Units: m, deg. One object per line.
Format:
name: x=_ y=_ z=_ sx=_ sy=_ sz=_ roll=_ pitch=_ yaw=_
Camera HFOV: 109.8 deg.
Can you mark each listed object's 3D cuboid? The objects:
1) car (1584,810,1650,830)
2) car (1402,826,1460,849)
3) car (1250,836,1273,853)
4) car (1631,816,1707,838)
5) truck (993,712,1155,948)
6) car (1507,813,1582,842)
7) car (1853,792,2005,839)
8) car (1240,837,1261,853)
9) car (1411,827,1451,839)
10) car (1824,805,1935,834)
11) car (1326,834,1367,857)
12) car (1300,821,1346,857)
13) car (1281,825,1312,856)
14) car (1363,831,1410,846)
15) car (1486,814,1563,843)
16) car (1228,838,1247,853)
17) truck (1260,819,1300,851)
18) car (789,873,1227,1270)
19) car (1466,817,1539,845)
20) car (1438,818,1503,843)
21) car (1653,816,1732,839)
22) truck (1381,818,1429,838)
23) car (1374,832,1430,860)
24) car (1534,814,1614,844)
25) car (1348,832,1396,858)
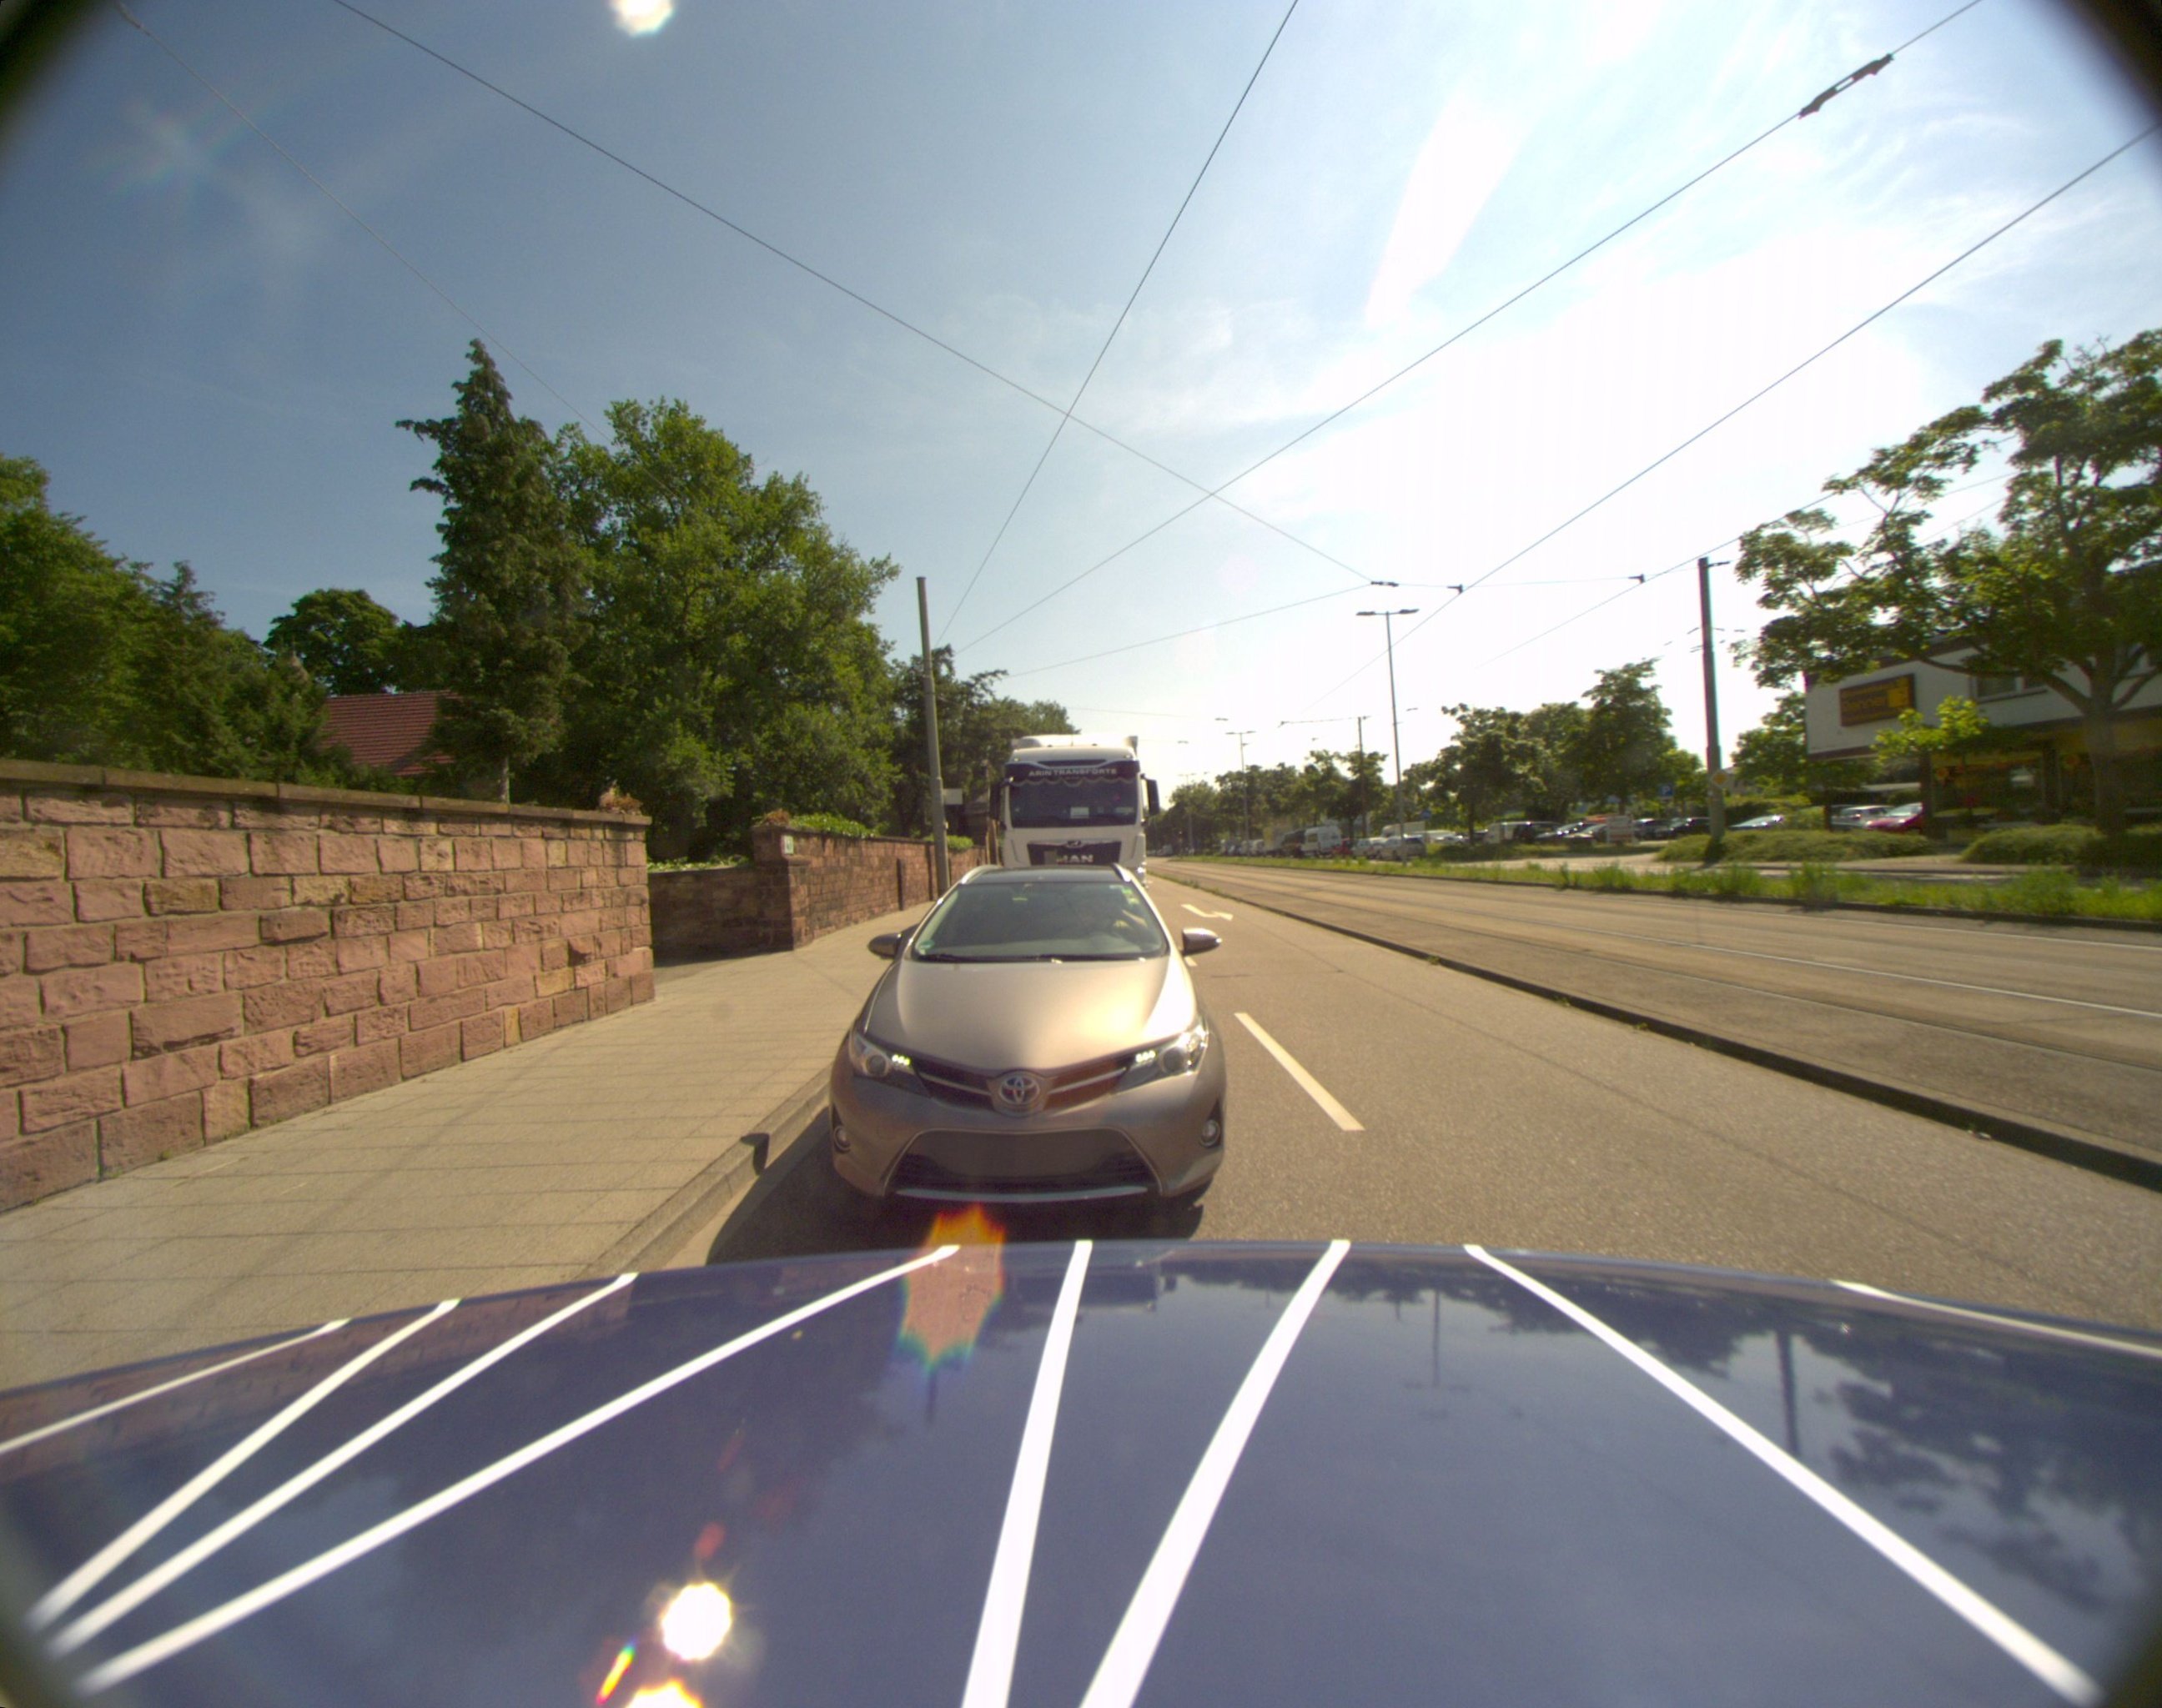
car: x=44.042 y=-2.809 z=62.509 sx=4.254 sy=1.327 sz=1.676 roll=-3 pitch=0 yaw=-1
car: x=31.174 y=-1.395 z=67.875 sx=2.594 sy=1.800 sz=5.741 roll=-3 pitch=0 yaw=2
car: x=20.713 y=-1.048 z=87.368 sx=1.502 sy=1.793 sz=4.633 roll=-6 pitch=0 yaw=1
car: x=44.173 y=-2.020 z=57.137 sx=4.252 sy=1.327 sz=1.676 roll=-3 pitch=0 yaw=2
truck: x=-0.022 y=-0.456 z=17.517 sx=2.628 sy=3.906 sz=9.285 roll=-2 pitch=1 yaw=1
car: x=30.584 y=-1.711 z=50.196 sx=3.810 sy=1.625 sz=1.676 roll=-3 pitch=1 yaw=2
car: x=35.264 y=-1.578 z=31.677 sx=4.252 sy=1.595 sz=1.676 roll=-3 pitch=1 yaw=2
car: x=20.977 y=-1.117 z=94.216 sx=1.502 sy=1.835 sz=4.059 roll=-6 pitch=0 yaw=0
car: x=43.742 y=-2.615 z=95.033 sx=4.253 sy=1.327 sz=1.676 roll=-3 pitch=0 yaw=1
car: x=44.358 y=-1.900 z=42.250 sx=4.252 sy=1.327 sz=1.676 roll=-3 pitch=0 yaw=2
car: x=20.480 y=-0.663 z=58.751 sx=1.675 sy=1.524 sz=3.793 roll=-6 pitch=0 yaw=1
car: x=20.287 y=-1.219 z=63.986 sx=2.062 sy=2.638 sz=5.203 roll=-6 pitch=0 yaw=1
car: x=19.914 y=-1.207 z=70.408 sx=1.502 sy=2.609 sz=4.007 roll=-6 pitch=0 yaw=1
car: x=32.322 y=-1.586 z=80.392 sx=4.253 sy=1.327 sz=1.676 roll=-3 pitch=0 yaw=1
car: x=30.697 y=-1.766 z=52.663 sx=4.117 sy=1.728 sz=1.990 roll=-3 pitch=1 yaw=-2
car: x=20.630 y=-1.080 z=100.068 sx=1.502 sy=1.775 sz=3.687 roll=-6 pitch=0 yaw=0
truck: x=20.607 y=-1.892 z=78.853 sx=2.508 sy=2.917 sz=5.903 roll=-6 pitch=0 yaw=2
car: x=-0.262 y=0.895 z=4.946 sx=1.654 sy=1.374 sz=4.000 roll=-2 pitch=0 yaw=1
car: x=30.538 y=-1.678 z=55.134 sx=4.117 sy=1.728 sz=1.990 roll=-3 pitch=1 yaw=-2
car: x=31.235 y=-1.872 z=60.972 sx=4.117 sy=1.728 sz=1.990 roll=-3 pitch=1 yaw=-2
car: x=44.022 y=-1.907 z=54.746 sx=4.252 sy=1.327 sz=1.676 roll=-3 pitch=0 yaw=2
truck: x=44.784 y=-3.628 z=105.105 sx=5.652 sy=2.367 sz=1.990 roll=-3 pitch=1 yaw=-2
car: x=20.308 y=-0.514 z=48.276 sx=1.675 sy=1.524 sz=4.256 roll=-6 pitch=0 yaw=1
car: x=30.521 y=-1.534 z=47.111 sx=3.810 sy=1.625 sz=1.676 roll=-3 pitch=1 yaw=2
car: x=20.461 y=-0.623 z=53.612 sx=1.675 sy=1.524 sz=4.256 roll=-6 pitch=0 yaw=1
